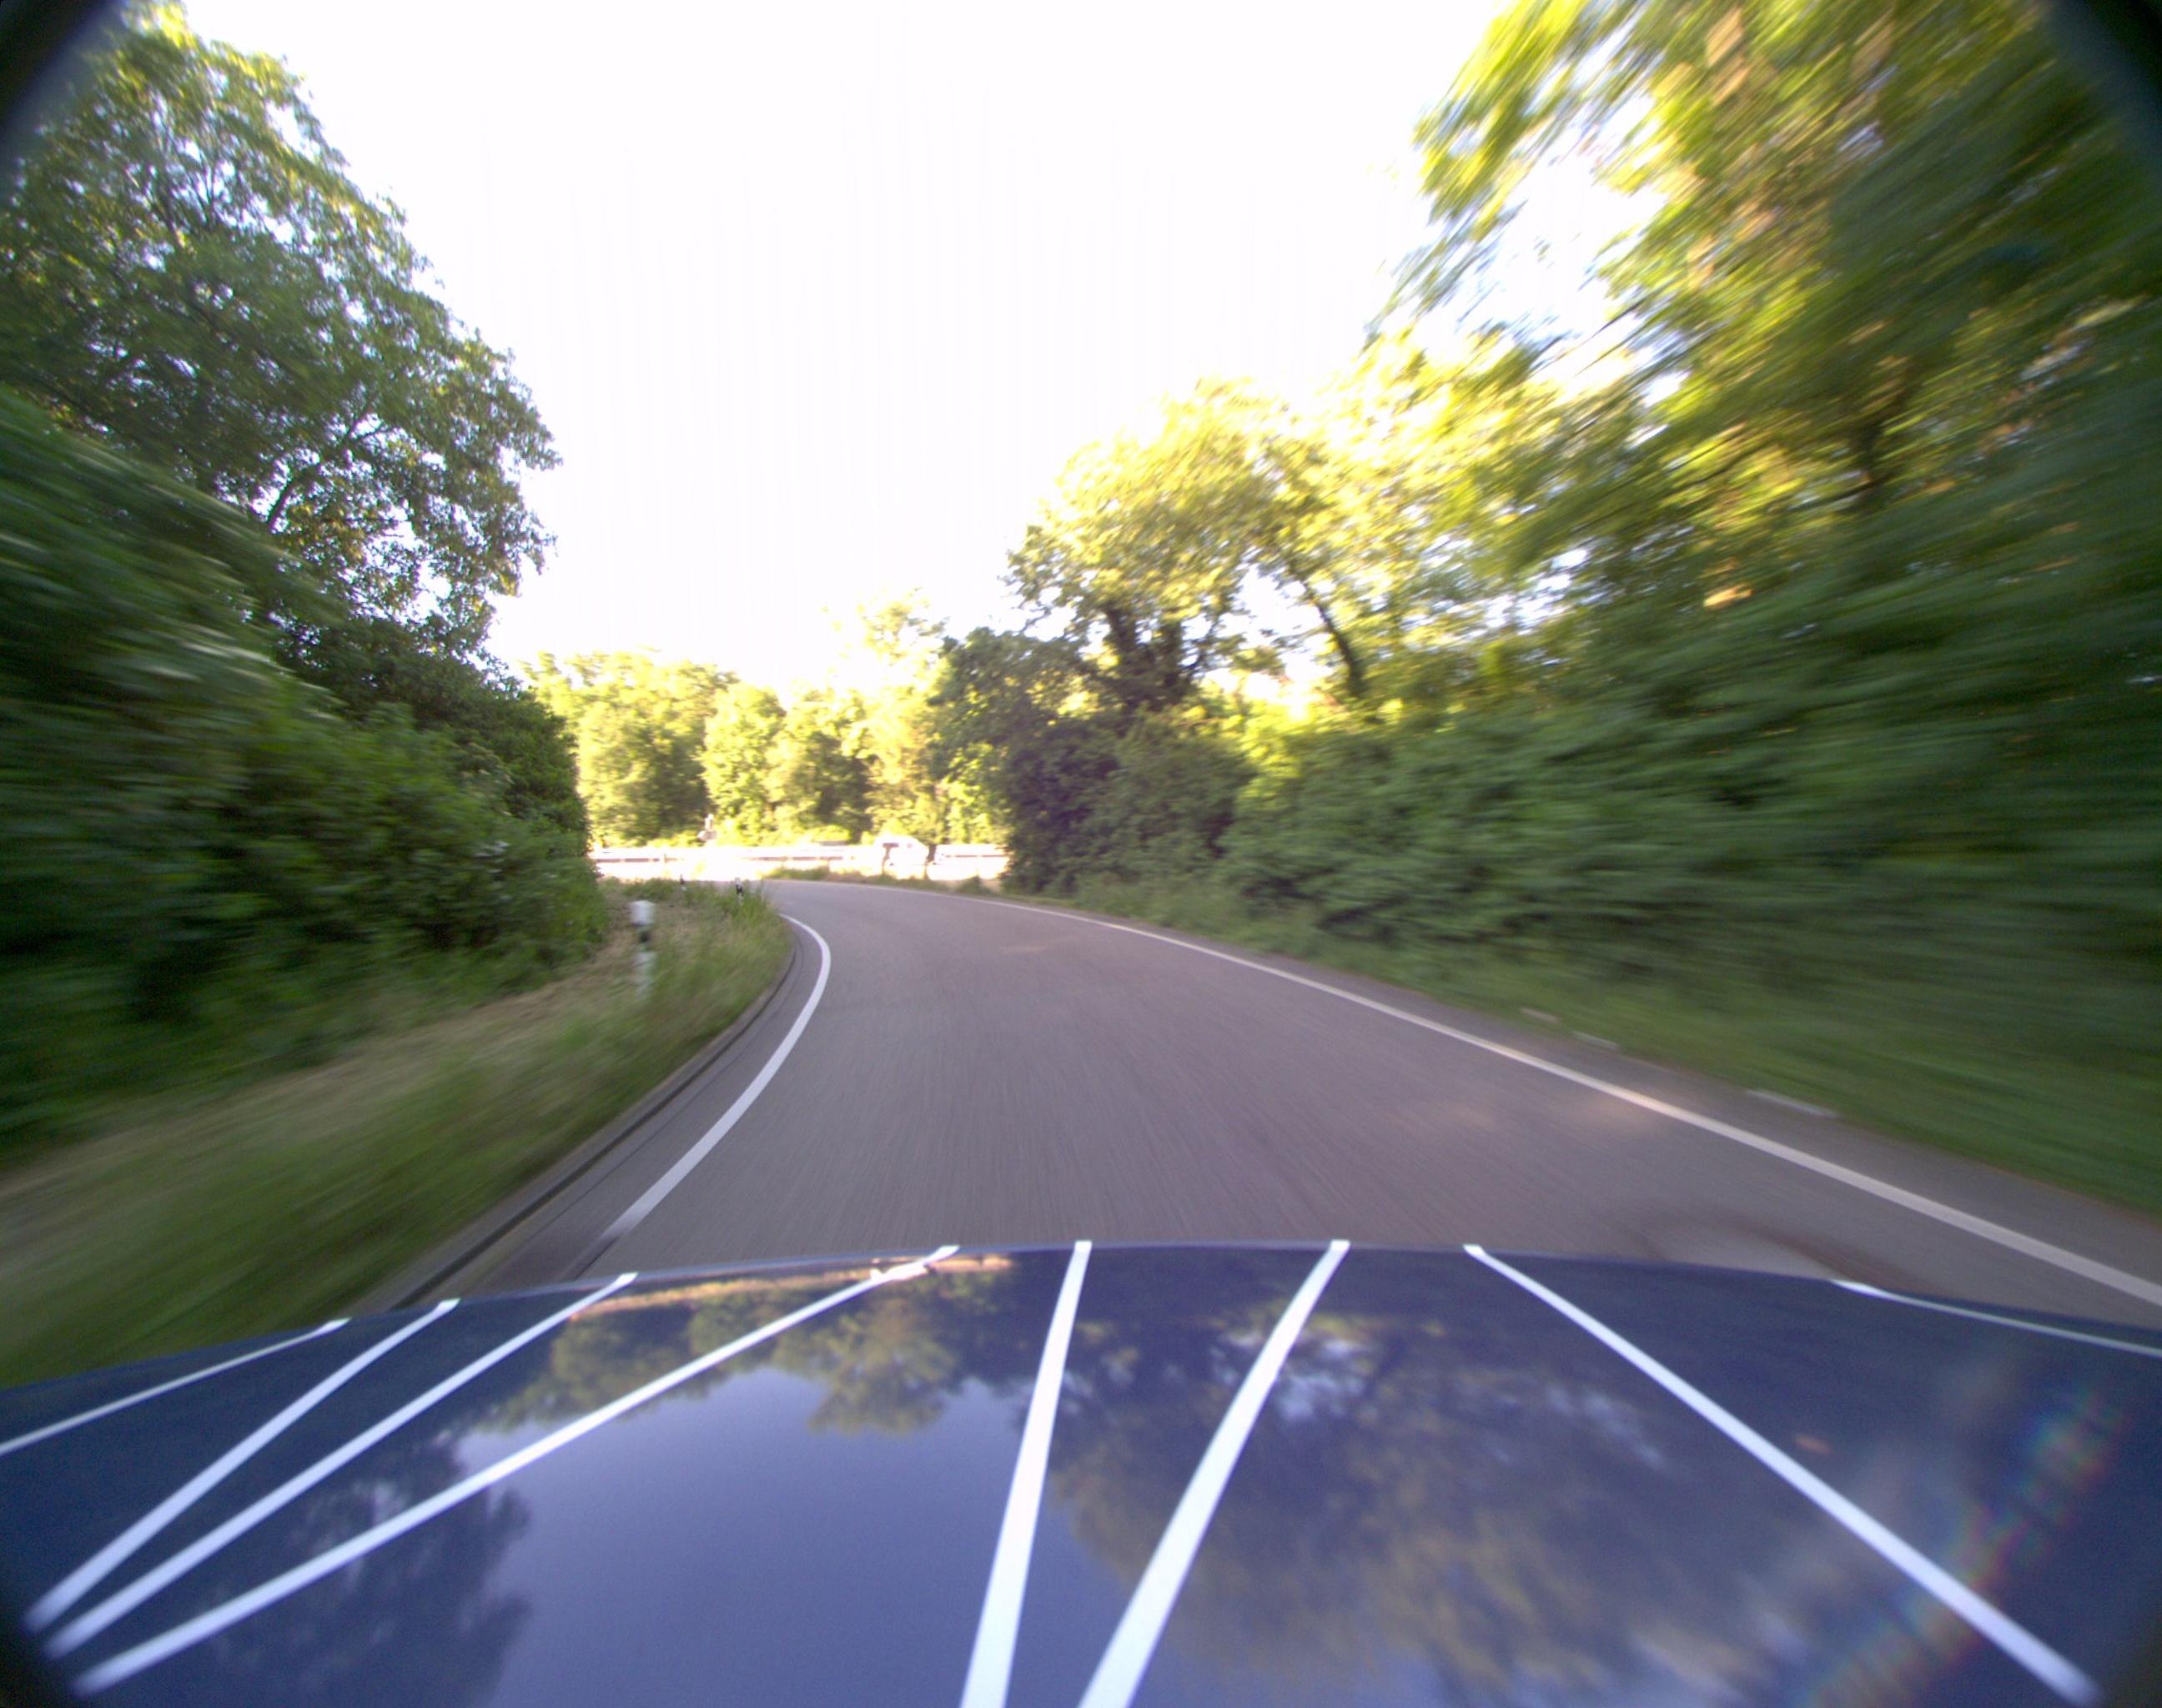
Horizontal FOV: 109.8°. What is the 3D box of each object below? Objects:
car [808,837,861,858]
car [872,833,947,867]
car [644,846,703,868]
[{"bbox_3d":[-20.510,-0.567,63.269,3.702,1.534,1.748,-2,2,2],"label":"car"},{"bbox_3d":[-10.870,-0.291,48.389,4.349,1.856,1.934,-3,4,-4],"label":"car"},{"bbox_3d":[-33.353,0.203,62.270,3.702,1.612,1.936,-2,2,2],"label":"car"}]
